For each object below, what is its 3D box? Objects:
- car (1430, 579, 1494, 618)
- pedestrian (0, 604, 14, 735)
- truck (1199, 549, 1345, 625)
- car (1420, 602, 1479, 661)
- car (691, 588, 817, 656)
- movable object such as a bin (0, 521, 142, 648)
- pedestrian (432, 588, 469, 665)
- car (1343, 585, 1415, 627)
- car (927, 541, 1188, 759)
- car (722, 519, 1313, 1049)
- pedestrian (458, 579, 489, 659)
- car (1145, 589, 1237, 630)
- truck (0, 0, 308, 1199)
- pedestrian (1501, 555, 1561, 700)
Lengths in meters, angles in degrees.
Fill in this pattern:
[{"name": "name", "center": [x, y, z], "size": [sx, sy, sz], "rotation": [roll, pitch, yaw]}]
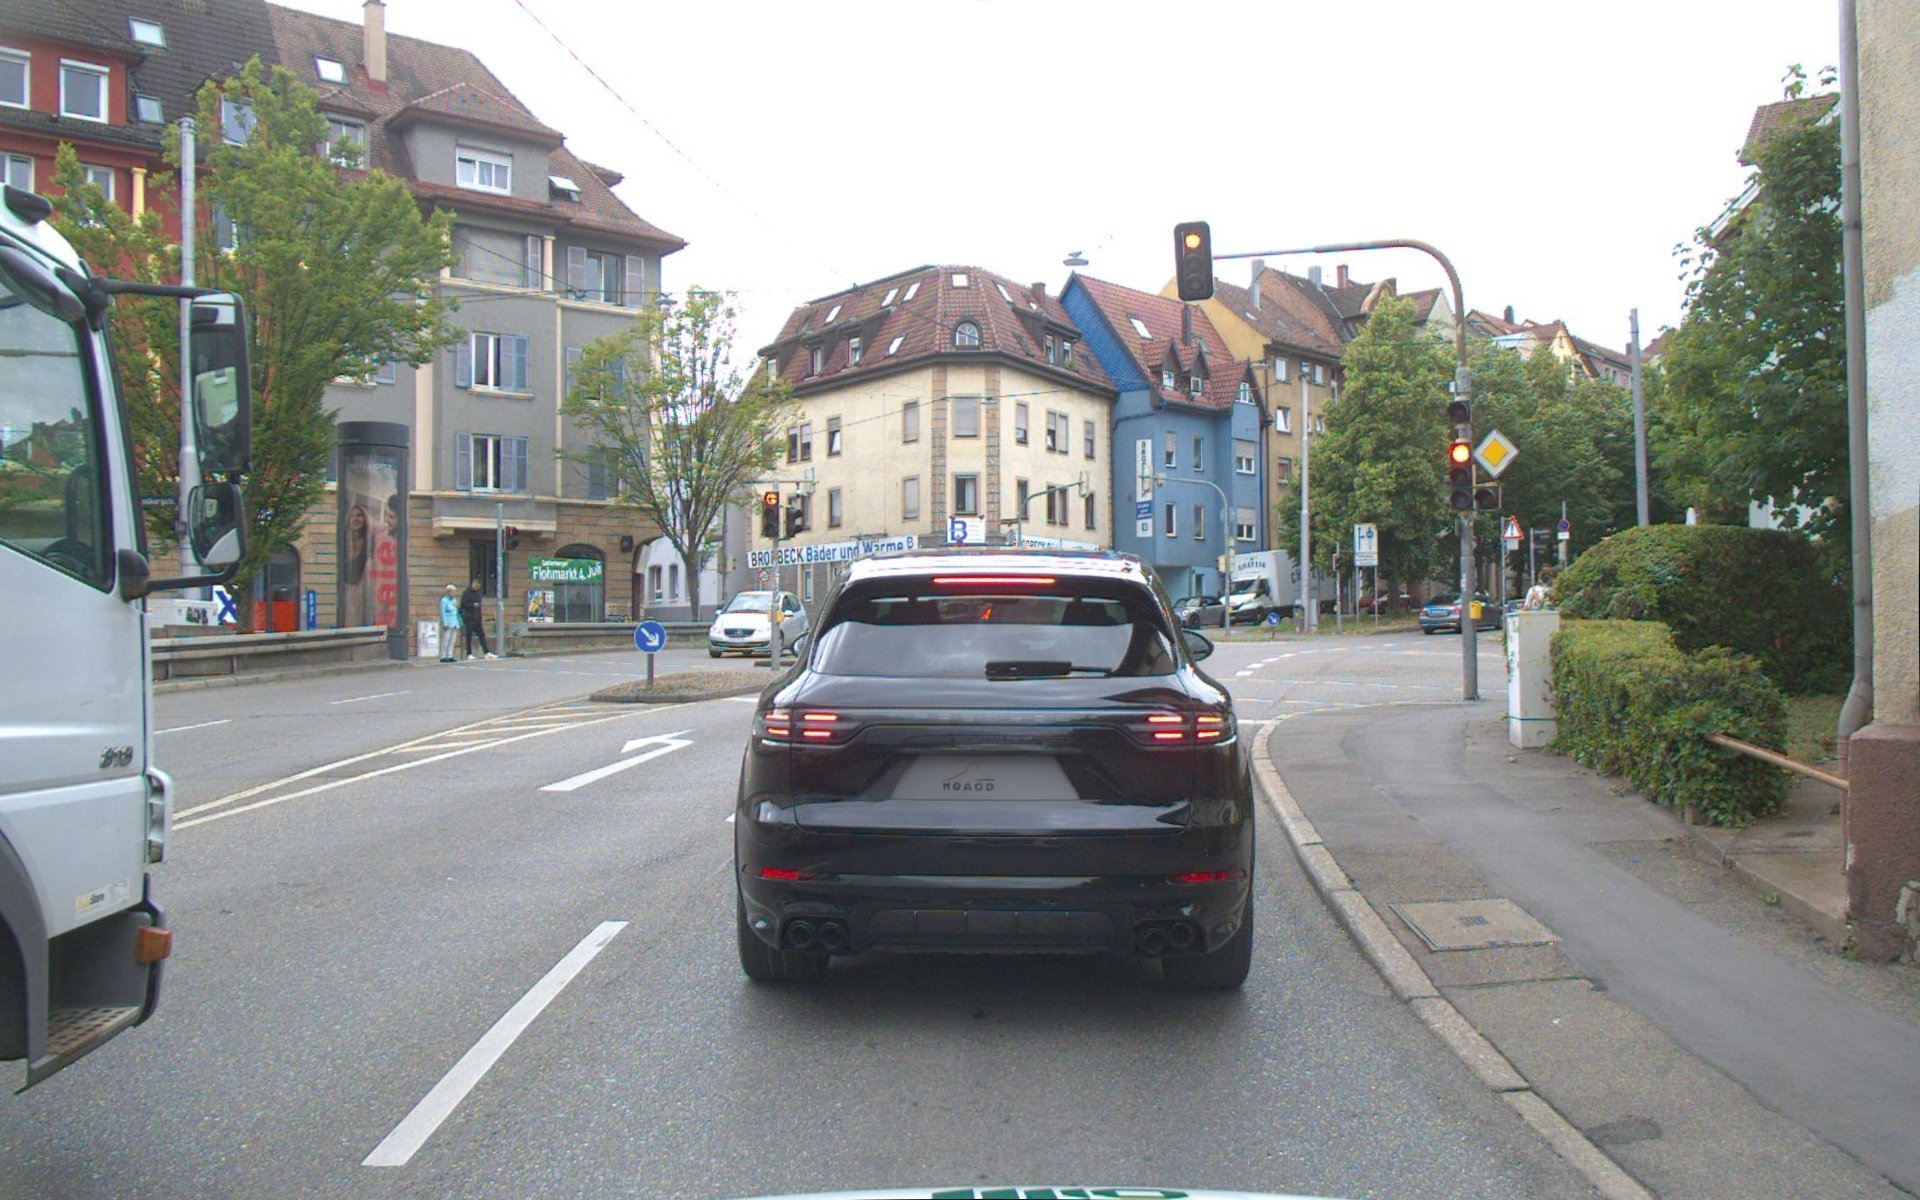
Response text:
[{"name": "car", "center": [28.443, -0.100, 93.636], "size": [1.965, 2.049, 3.975], "rotation": [2, 0, 42]}, {"name": "pedestrian", "center": [-13.288, 0.935, 22.578], "size": [0.537, 1.760, 0.586], "rotation": [2, -1, -35]}, {"name": "truck", "center": [14.972, -0.560, 78.741], "size": [2.830, 3.398, 8.744], "rotation": [2, 0, 41]}, {"name": "car", "center": [17.775, 1.146, 60.090], "size": [1.951, 2.049, 4.002], "rotation": [1, -1, 16]}, {"name": "car", "center": [-5.065, 0.548, 41.229], "size": [1.849, 1.607, 3.972], "rotation": [0, -1, 13]}, {"name": "movable object such as a bin", "center": [-14.282, -0.243, 25.766], "size": [1.870, 1.802, 3.986], "rotation": [2, 0, -14]}, {"name": "pedestrian", "center": [-10.725, 0.552, 34.806], "size": [0.577, 1.594, 0.486], "rotation": [2, -1, -1]}, {"name": "car", "center": [21.939, 0.338, 86.492], "size": [1.965, 2.049, 3.975], "rotation": [2, 0, 42]}, {"name": "car", "center": [1.029, 0.392, 15.084], "size": [1.951, 1.713, 4.003], "rotation": [0, 0, 10]}, {"name": "car", "center": [0.079, 0.569, 7.407], "size": [1.939, 1.713, 3.997], "rotation": [0, 1, -4]}, {"name": "pedestrian", "center": [-10.931, 0.419, 37.174], "size": [0.503, 1.760, 0.451], "rotation": [2, -1, 1]}, {"name": "car", "center": [10.086, 0.404, 72.044], "size": [3.968, 1.713, 1.968], "rotation": [0, 0, -43]}, {"name": "truck", "center": [-3.064, -0.346, 0.456], "size": [2.713, 3.637, 8.062], "rotation": [0, 1, -1]}, {"name": "pedestrian", "center": [7.474, 0.352, 21.668], "size": [0.517, 1.851, 0.591], "rotation": [2, -1, -1]}]
